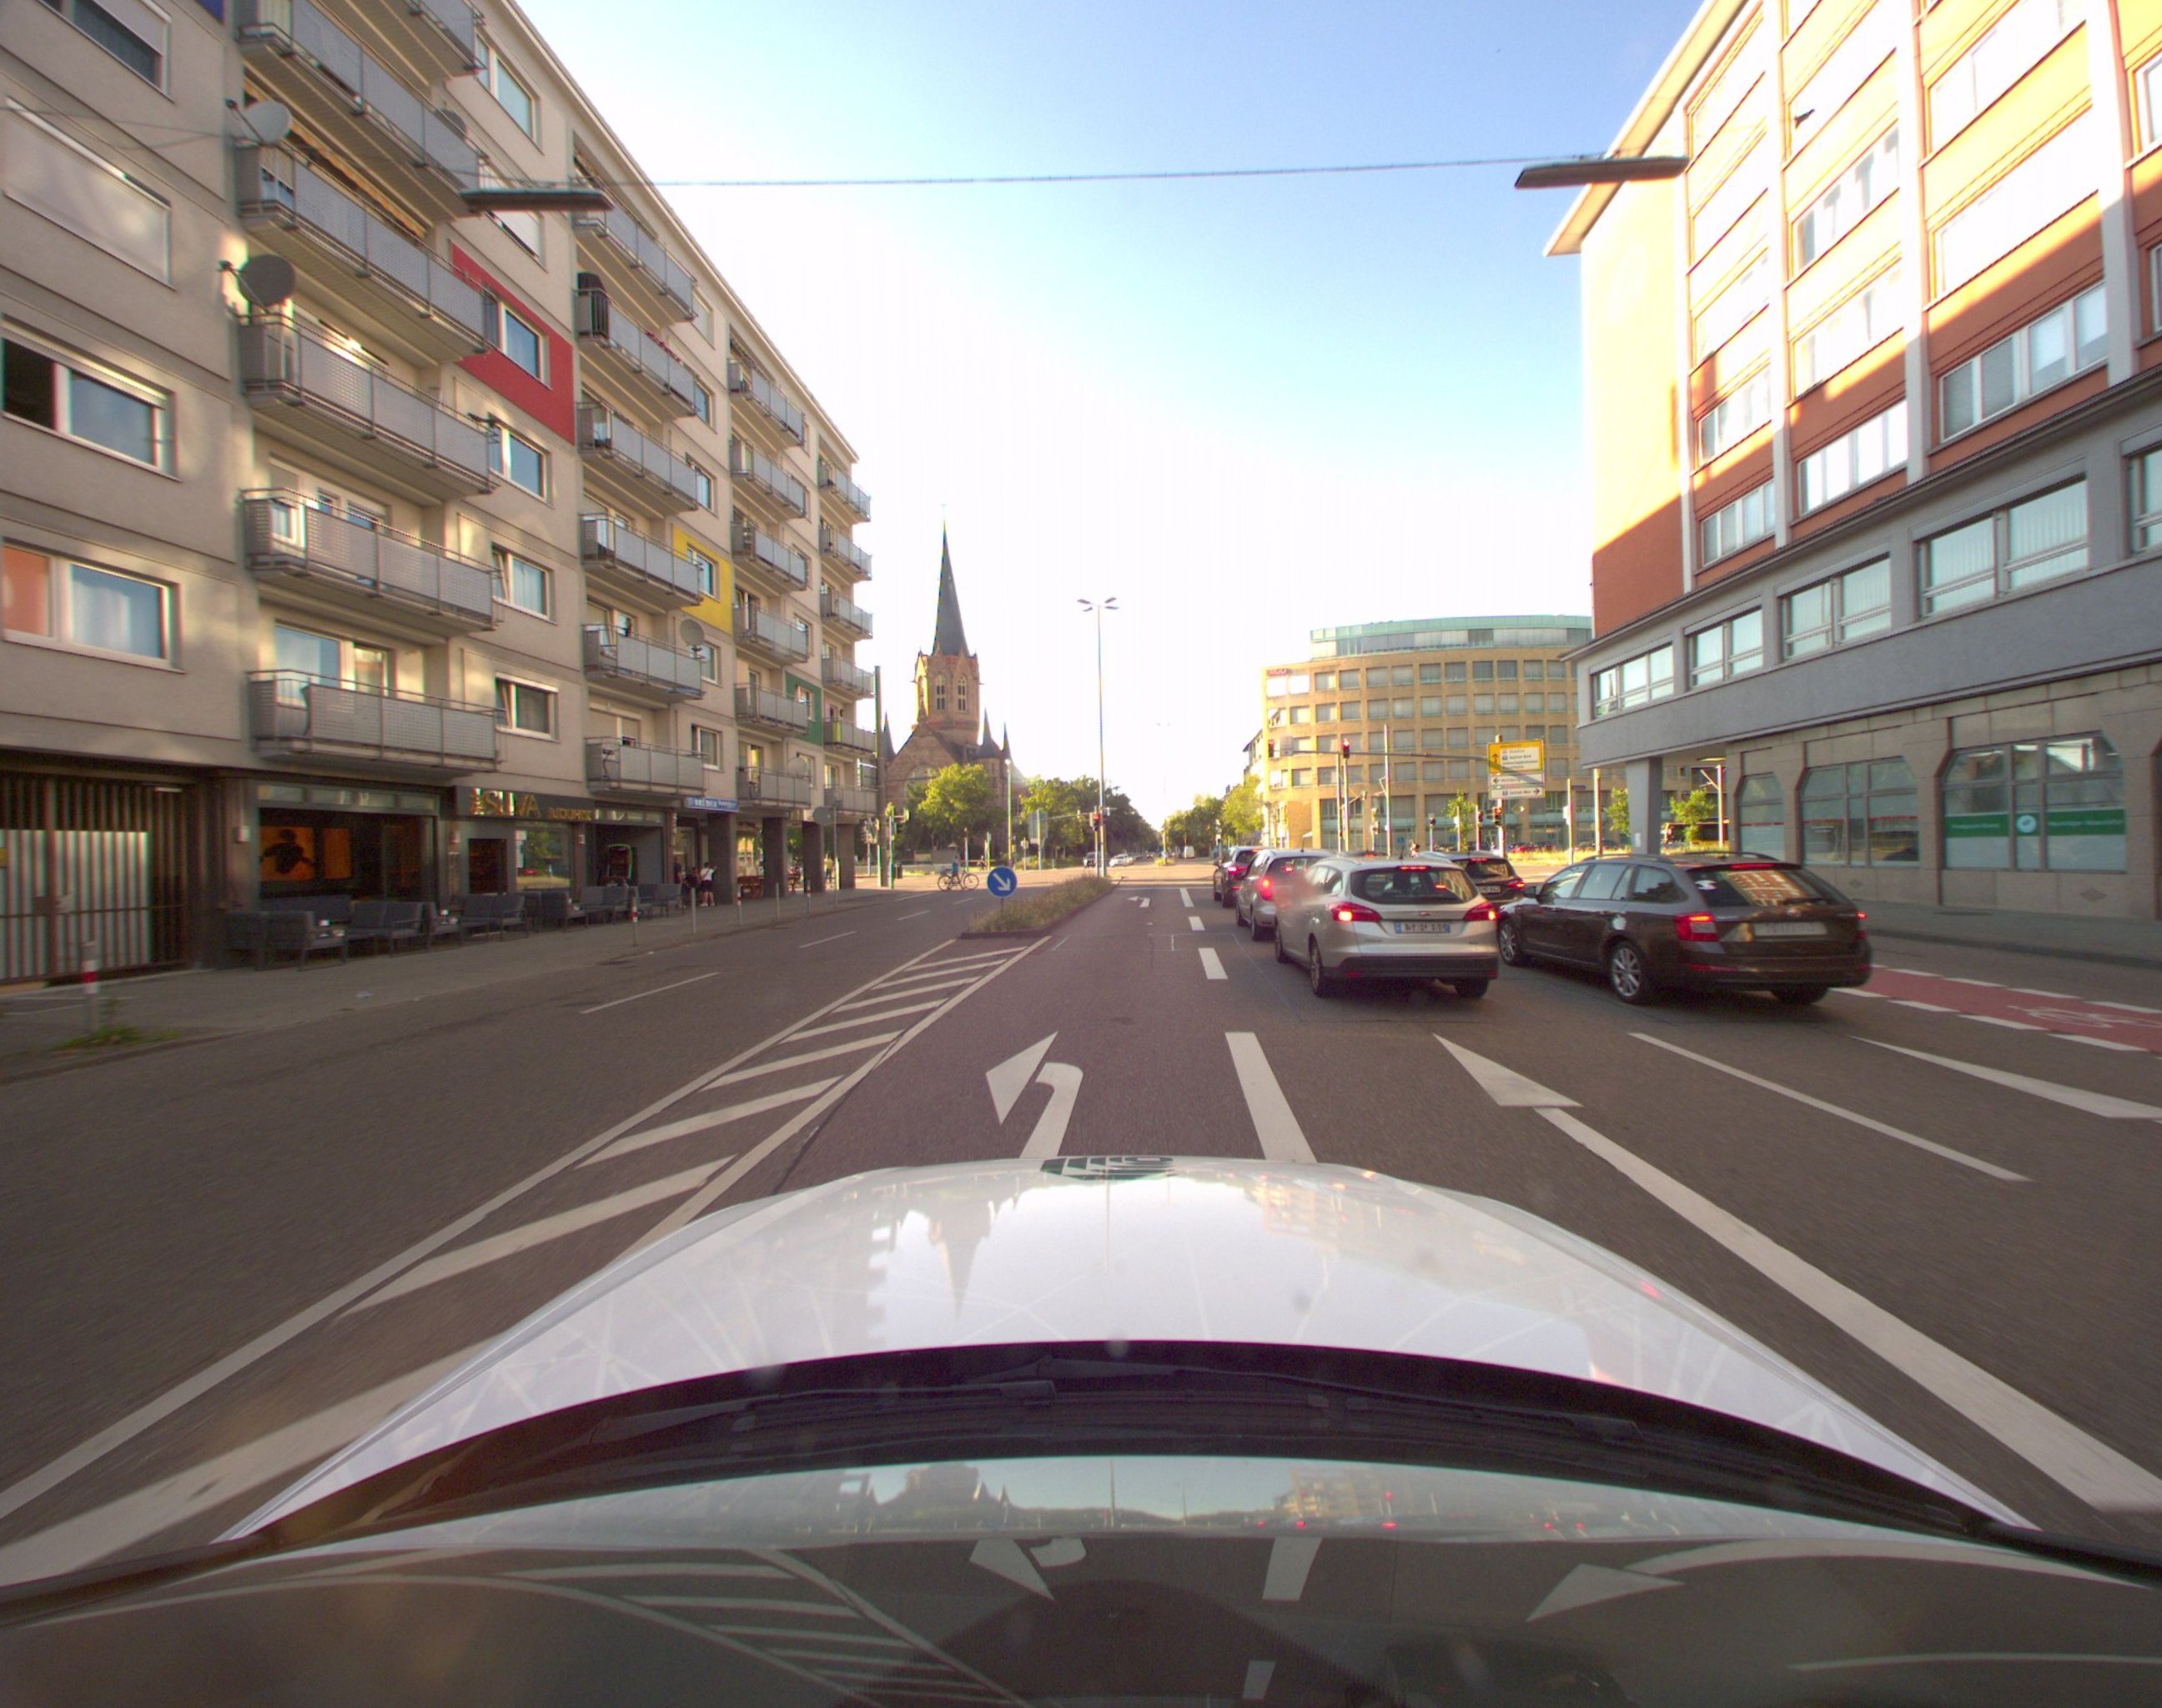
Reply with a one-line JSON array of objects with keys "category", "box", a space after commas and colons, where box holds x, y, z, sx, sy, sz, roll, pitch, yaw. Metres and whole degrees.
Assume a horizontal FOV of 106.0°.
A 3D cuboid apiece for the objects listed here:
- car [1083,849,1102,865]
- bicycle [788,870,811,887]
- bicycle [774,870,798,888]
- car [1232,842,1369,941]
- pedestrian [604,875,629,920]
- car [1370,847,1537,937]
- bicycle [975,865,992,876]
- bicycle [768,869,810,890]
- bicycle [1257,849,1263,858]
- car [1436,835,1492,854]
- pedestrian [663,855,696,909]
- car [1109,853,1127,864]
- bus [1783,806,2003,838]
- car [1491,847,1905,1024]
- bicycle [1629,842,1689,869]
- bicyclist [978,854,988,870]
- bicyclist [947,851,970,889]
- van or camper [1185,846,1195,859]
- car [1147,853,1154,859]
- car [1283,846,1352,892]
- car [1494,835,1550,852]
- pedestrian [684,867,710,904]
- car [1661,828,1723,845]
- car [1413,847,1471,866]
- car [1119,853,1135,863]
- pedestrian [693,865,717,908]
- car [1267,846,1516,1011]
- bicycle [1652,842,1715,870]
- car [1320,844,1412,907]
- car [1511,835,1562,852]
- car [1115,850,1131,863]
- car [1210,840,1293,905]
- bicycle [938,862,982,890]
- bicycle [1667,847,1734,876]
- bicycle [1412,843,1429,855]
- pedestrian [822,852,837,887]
[{"category": "car", "box": [1.368, 0.332, 95.209, 1.771, 1.647, 4.007, -2, 0, 6]}, {"category": "bicycle", "box": [-15.153, 1.331, 43.926, 0.494, 0.840, 1.706, -2, 0, 5]}, {"category": "bicycle", "box": [-15.928, 1.351, 44.018, 0.494, 0.906, 1.706, -2, 0, 5]}, {"category": "car", "box": [3.935, 0.594, 15.164, 1.795, 1.568, 3.623, -2, 0, 4]}, {"category": "pedestrian", "box": [-12.821, 1.186, 22.492, 0.524, 1.203, 0.548, -2, 0, -26]}, {"category": "car", "box": [6.981, 0.625, 15.759, 1.642, 1.484, 4.246, -1, 1, 6]}, {"category": "bicycle", "box": [-10.542, 1.774, 87.745, 1.660, 1.139, 0.651, -2, 0, 22]}, {"category": "bicycle", "box": [-17.734, 1.534, 49.456, 2.034, 1.168, 1.163, -2, 0, 3]}, {"category": "bicycle", "box": [24.277, -0.031, 110.358, 0.768, 1.195, 2.474, -2, 0, 13]}, {"category": "car", "box": [34.889, -0.870, 74.216, 4.206, 1.614, 2.004, -2, 0, 7]}, {"category": "pedestrian", "box": [-12.989, 0.893, 26.352, 0.784, 1.701, 0.554, -2, 0, -41]}, {"category": "car", "box": [4.324, 0.494, 94.395, 1.771, 1.236, 4.007, -2, 0, 6]}, {"category": "bus", "box": [76.947, -3.000, 77.372, 18.098, 2.436, 2.424, -2, 0, 2]}, {"category": "car", "box": [6.281, 0.684, 9.005, 1.699, 1.457, 4.165, -2, 0, 5]}, {"category": "bicycle", "box": [25.814, 0.074, 36.388, 2.076, 1.116, 0.743, -3, 0, 4]}, {"category": "bicyclist", "box": [-10.564, 0.846, 87.738, 0.773, 1.694, 0.644, -2, 0, 21]}, {"category": "bicyclist", "box": [-5.634, 0.726, 37.394, 0.778, 1.660, 0.902, -2, 0, 6]}, {"category": "van or camper", "box": [23.106, -0.406, 172.759, 1.983, 2.640, 5.361, -2, 0, 7]}, {"category": "car", "box": [19.358, 0.532, 226.176, 1.771, 1.448, 4.007, -2, 0, 6]}, {"category": "car", "box": [7.852, 0.458, 27.277, 1.577, 1.446, 3.653, 0, 0, 5]}, {"category": "car", "box": [41.593, -0.968, 76.907, 4.212, 1.502, 2.001, -2, 0, 2]}, {"category": "pedestrian", "box": [-13.379, 1.086, 28.365, 0.551, 1.239, 0.533, -2, 0, 20]}, {"category": "car", "box": [54.676, -1.590, 72.964, 3.970, 1.346, 2.002, -2, 0, 3]}, {"category": "car", "box": [34.345, 0.210, 77.470, 4.628, 1.598, 2.002, -2, 0, 3]}, {"category": "car", "box": [6.138, 0.521, 108.473, 1.771, 1.236, 4.007, -2, 0, 6]}, {"category": "pedestrian", "box": [-12.451, 1.074, 26.957, 0.479, 1.384, 0.484, -2, 0, 25]}, {"category": "car", "box": [3.374, 0.681, 9.739, 1.699, 1.510, 4.316, -1, 1, 5]}, {"category": "bicycle", "box": [25.754, 0.086, 34.834, 2.076, 1.116, 0.743, -3, 0, 4]}, {"category": "car", "box": [7.585, 0.515, 21.957, 1.482, 1.505, 3.483, -2, 0, 4]}, {"category": "car", "box": [41.172, -0.959, 73.631, 3.590, 1.342, 1.725, -2, 0, 6]}, {"category": "car", "box": [5.254, 0.306, 100.922, 1.771, 1.464, 4.007, -2, 0, 6]}, {"category": "car", "box": [4.773, 0.466, 23.348, 1.775, 1.632, 4.485, -2, 0, 5]}, {"category": "bicycle", "box": [-5.487, 1.009, 36.930, 1.819, 1.188, 0.735, -2, 0, 4]}, {"category": "bicycle", "box": [25.515, 0.308, 33.564, 2.076, 1.116, 0.743, -3, 0, 4]}, {"category": "bicycle", "box": [33.248, -0.469, 79.755, 1.506, 1.172, 0.477, -2, 0, 21]}, {"category": "pedestrian", "box": [-13.127, 0.807, 42.488, 0.549, 1.769, 0.470, -2, 0, 7]}]
